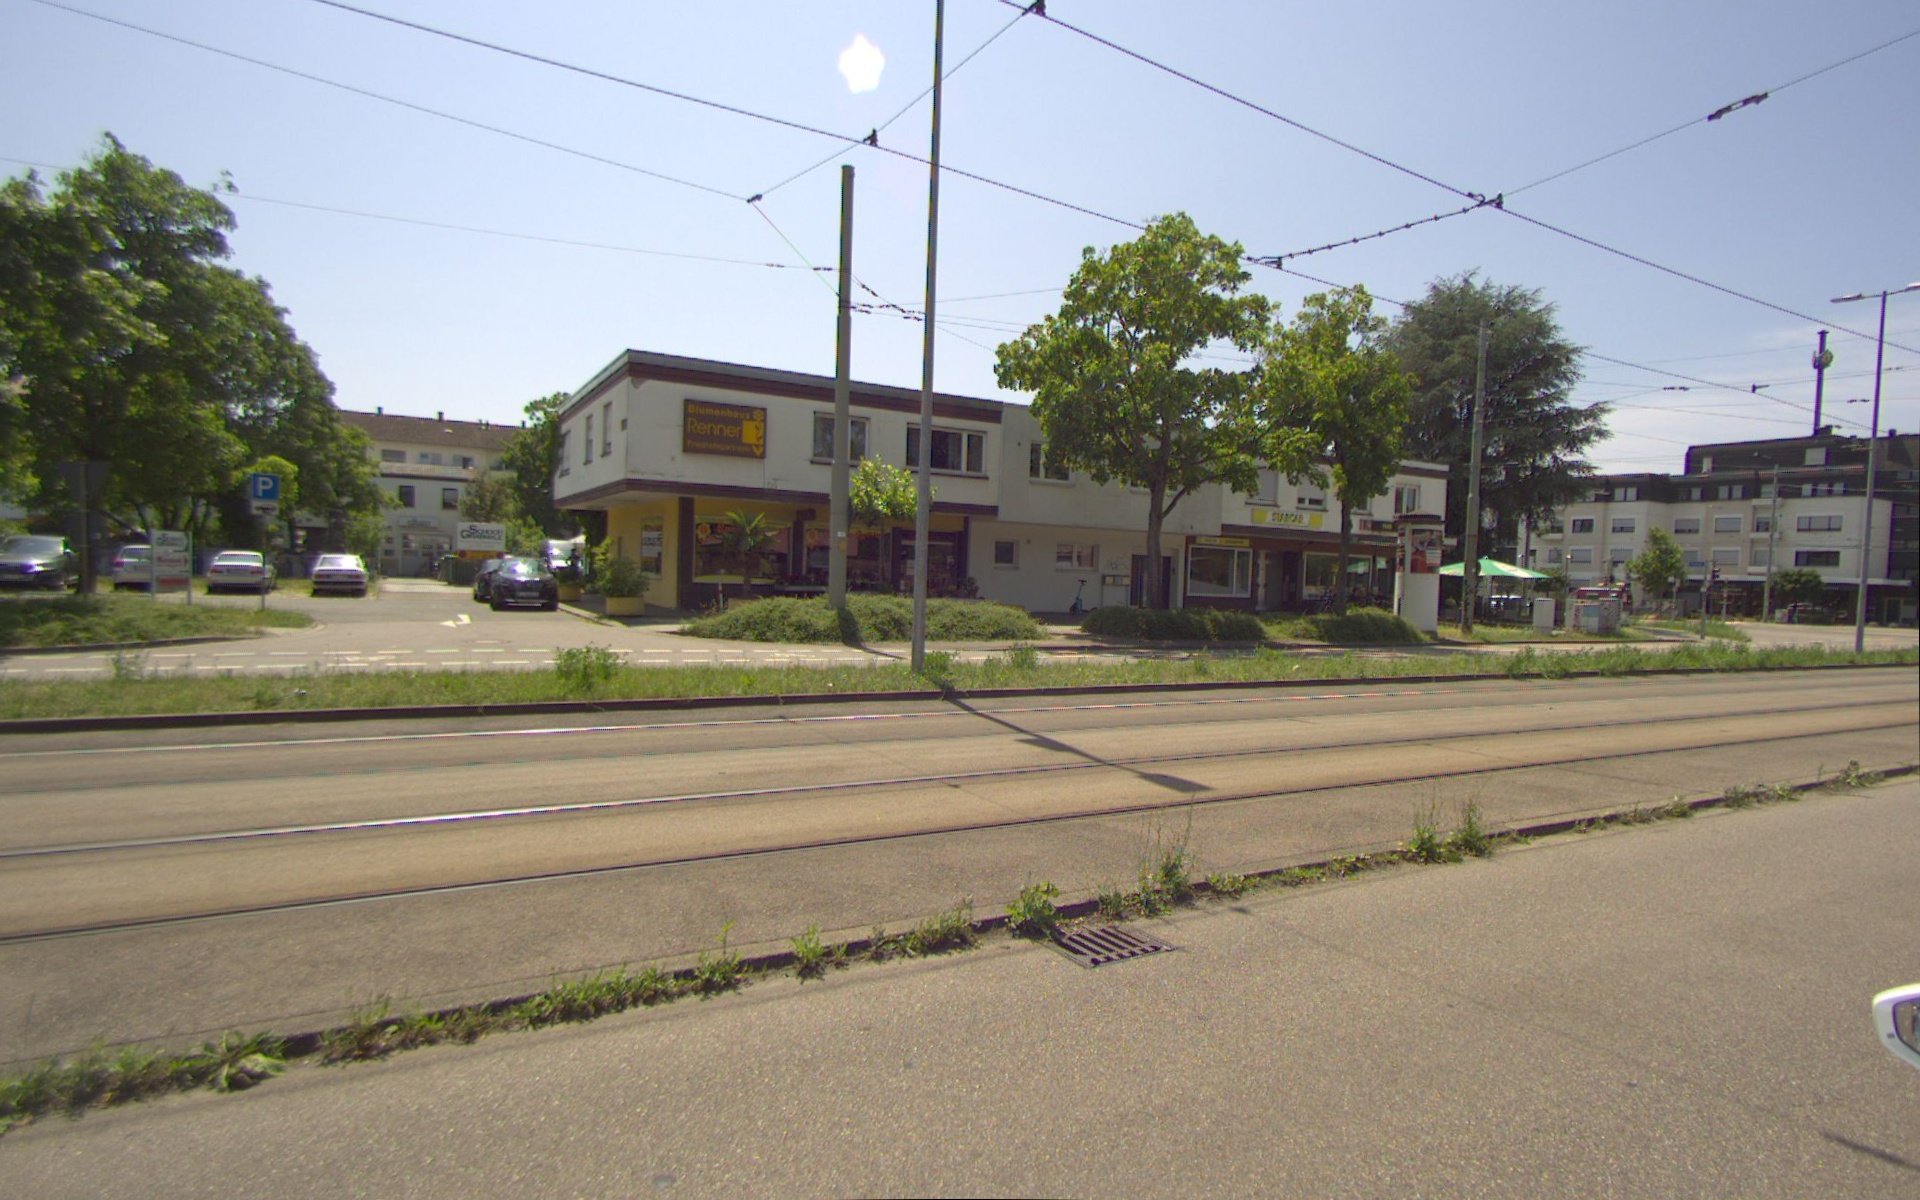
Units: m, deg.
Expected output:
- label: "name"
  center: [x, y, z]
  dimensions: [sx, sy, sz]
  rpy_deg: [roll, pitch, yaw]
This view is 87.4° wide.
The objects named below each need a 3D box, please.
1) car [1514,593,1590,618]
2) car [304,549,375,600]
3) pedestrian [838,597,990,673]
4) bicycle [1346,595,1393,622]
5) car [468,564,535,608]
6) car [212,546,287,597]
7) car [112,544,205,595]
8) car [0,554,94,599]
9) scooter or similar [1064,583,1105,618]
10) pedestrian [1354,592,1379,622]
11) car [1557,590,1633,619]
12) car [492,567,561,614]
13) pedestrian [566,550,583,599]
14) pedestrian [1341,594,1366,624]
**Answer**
- label: "car"
  center: [40.215, 0.355, 68.353]
  dimensions: [1.700, 1.631, 4.556]
  rpy_deg: [2, 0, -14]
- label: "car"
  center: [-22.019, -0.873, 35.779]
  dimensions: [1.780, 1.678, 3.972]
  rpy_deg: [2, 0, -27]
- label: "pedestrian"
  center: [-1.334, 1.017, 29.326]
  dimensions: [3.954, 2.040, 1.983]
  rpy_deg: [2, 0, -31]
- label: "bicycle"
  center: [16.055, 0.355, 39.361]
  dimensions: [2.005, 0.992, 0.607]
  rpy_deg: [2, 0, -30]
- label: "car"
  center: [-16.547, -0.466, 36.181]
  dimensions: [1.975, 1.440, 4.115]
  rpy_deg: [2, 0, -27]
- label: "car"
  center: [-24.463, -0.955, 34.712]
  dimensions: [1.501, 1.600, 3.972]
  rpy_deg: [2, 0, -27]
- label: "car"
  center: [-26.941, -0.979, 33.879]
  dimensions: [1.639, 1.540, 3.972]
  rpy_deg: [2, 0, -27]
- label: "car"
  center: [-28.801, -0.727, 31.422]
  dimensions: [1.742, 1.302, 3.701]
  rpy_deg: [2, 0, -27]
- label: "scooter or similar"
  center: [4.422, 0.029, 35.745]
  dimensions: [1.321, 1.207, 0.455]
  rpy_deg: [2, 0, -10]
- label: "pedestrian"
  center: [17.757, 0.312, 43.857]
  dimensions: [0.832, 1.285, 0.586]
  rpy_deg: [2, 0, -30]
- label: "car"
  center: [54.358, 0.349, 86.078]
  dimensions: [2.219, 2.372, 5.039]
  rpy_deg: [2, 0, -31]
- label: "car"
  center: [-13.277, -0.329, 30.682]
  dimensions: [1.661, 1.314, 3.971]
  rpy_deg: [1, 2, -27]
- label: "pedestrian"
  center: [-14.337, -0.945, 37.339]
  dimensions: [0.466, 1.823, 0.484]
  rpy_deg: [2, 0, -30]
- label: "pedestrian"
  center: [17.377, 0.397, 44.379]
  dimensions: [0.832, 1.285, 0.586]
  rpy_deg: [2, 0, -30]
